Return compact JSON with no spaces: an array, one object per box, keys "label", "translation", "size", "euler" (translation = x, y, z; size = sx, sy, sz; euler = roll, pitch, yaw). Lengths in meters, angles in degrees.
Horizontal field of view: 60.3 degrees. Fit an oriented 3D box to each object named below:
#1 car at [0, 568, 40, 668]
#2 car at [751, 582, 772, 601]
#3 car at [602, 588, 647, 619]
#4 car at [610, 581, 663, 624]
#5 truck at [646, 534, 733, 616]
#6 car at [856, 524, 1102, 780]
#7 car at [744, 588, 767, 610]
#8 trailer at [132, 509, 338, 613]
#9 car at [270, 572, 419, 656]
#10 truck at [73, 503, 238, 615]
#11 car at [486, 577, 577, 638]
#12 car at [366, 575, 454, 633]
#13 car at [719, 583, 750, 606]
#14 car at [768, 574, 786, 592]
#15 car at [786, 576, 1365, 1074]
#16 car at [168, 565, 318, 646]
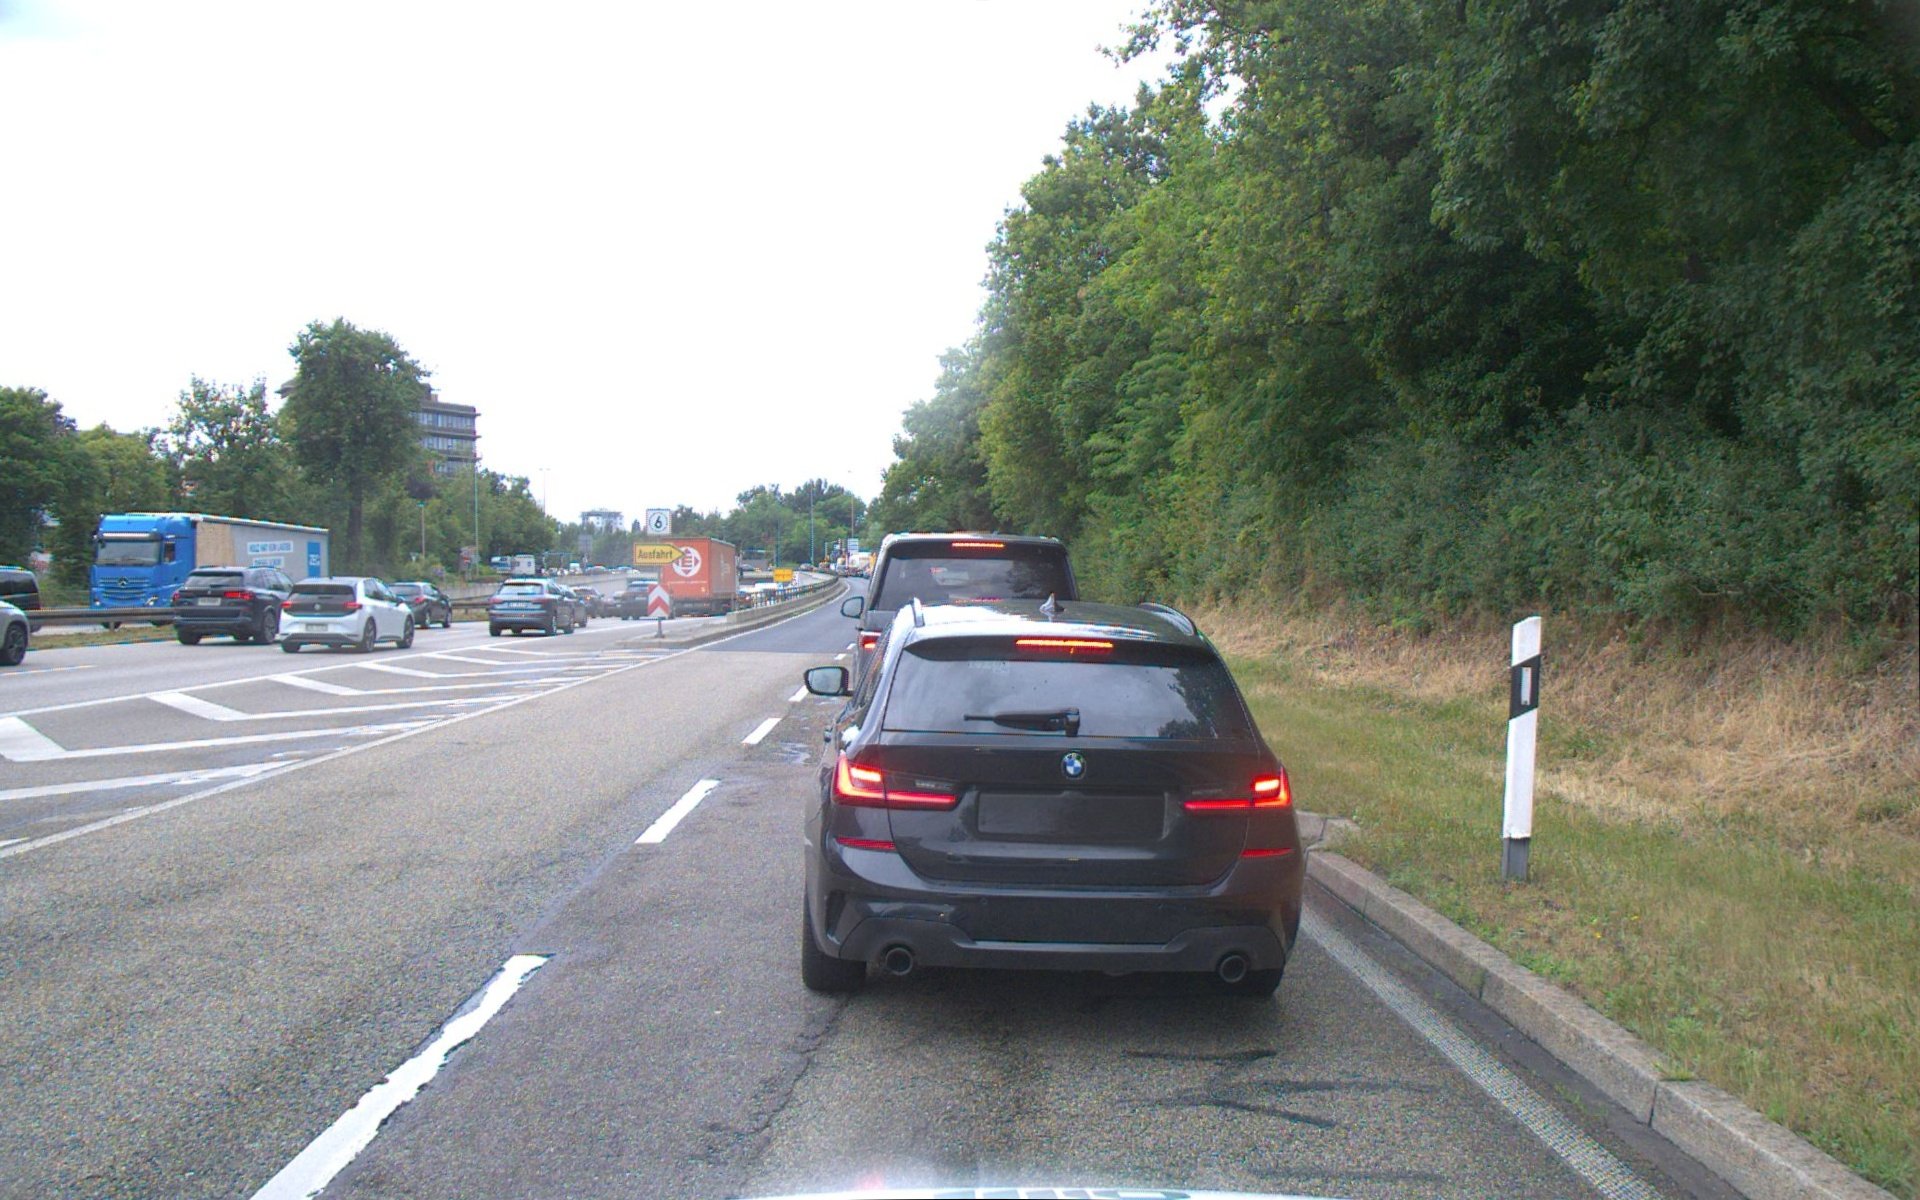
[{"label":"car","translation":[-16.332,0.299,25.911],"size":[1.694,1.629,3.927],"euler":[0,1,-1]},{"label":"car","translation":[-16.521,-0.696,137.842],"size":[1.526,1.579,3.996],"euler":[0,0,-4]},{"label":"car","translation":[-18.572,0.176,91.567],"size":[1.822,1.646,3.998],"euler":[1,0,-3]},{"label":"car","translation":[-14.536,0.106,74.471],"size":[1.823,1.847,3.997],"euler":[1,0,-4]},{"label":"truck","translation":[-14.709,-1.377,91.046],"size":[3.421,4.144,13.582],"euler":[-1,1,-4]},{"label":"car","translation":[0.098,0.392,14.218],"size":[1.786,1.853,3.999],"euler":[1,0,-1]},{"label":"car","translation":[-15.222,-0.050,123.112],"size":[1.526,1.579,3.814],"euler":[1,0,-4]},{"label":"trailer","translation":[-29.012,-1.412,67.102],"size":[2.631,3.767,13.256],"euler":[1,0,-1]},{"label":"car","translation":[-12.990,0.285,35.187],"size":[1.764,1.632,4.254],"euler":[1,0,-4]},{"label":"truck","translation":[-28.897,-1.385,59.730],"size":[2.715,3.775,6.636],"euler":[1,0,-1]},{"label":"car","translation":[-12.198,0.197,47.312],"size":[1.756,1.668,3.997],"euler":[0,0,-4]},{"label":"car","translation":[-17.673,0.132,53.339],"size":[1.683,1.746,3.997],"euler":[1,0,-4]},{"label":"car","translation":[-15.221,-0.375,111.786],"size":[1.742,1.508,3.997],"euler":[0,0,-4]},{"label":"car","translation":[-17.673,-1.636,159.546],"size":[1.526,1.579,3.996],"euler":[1,0,-4]},{"label":"car","translation":[0.269,0.663,7.108],"size":[1.789,1.508,3.998],"euler":[-1,1,-3]},{"label":"car","translation":[-16.574,0.120,38.452],"size":[1.837,1.746,3.998],"euler":[1,0,-3]}]
